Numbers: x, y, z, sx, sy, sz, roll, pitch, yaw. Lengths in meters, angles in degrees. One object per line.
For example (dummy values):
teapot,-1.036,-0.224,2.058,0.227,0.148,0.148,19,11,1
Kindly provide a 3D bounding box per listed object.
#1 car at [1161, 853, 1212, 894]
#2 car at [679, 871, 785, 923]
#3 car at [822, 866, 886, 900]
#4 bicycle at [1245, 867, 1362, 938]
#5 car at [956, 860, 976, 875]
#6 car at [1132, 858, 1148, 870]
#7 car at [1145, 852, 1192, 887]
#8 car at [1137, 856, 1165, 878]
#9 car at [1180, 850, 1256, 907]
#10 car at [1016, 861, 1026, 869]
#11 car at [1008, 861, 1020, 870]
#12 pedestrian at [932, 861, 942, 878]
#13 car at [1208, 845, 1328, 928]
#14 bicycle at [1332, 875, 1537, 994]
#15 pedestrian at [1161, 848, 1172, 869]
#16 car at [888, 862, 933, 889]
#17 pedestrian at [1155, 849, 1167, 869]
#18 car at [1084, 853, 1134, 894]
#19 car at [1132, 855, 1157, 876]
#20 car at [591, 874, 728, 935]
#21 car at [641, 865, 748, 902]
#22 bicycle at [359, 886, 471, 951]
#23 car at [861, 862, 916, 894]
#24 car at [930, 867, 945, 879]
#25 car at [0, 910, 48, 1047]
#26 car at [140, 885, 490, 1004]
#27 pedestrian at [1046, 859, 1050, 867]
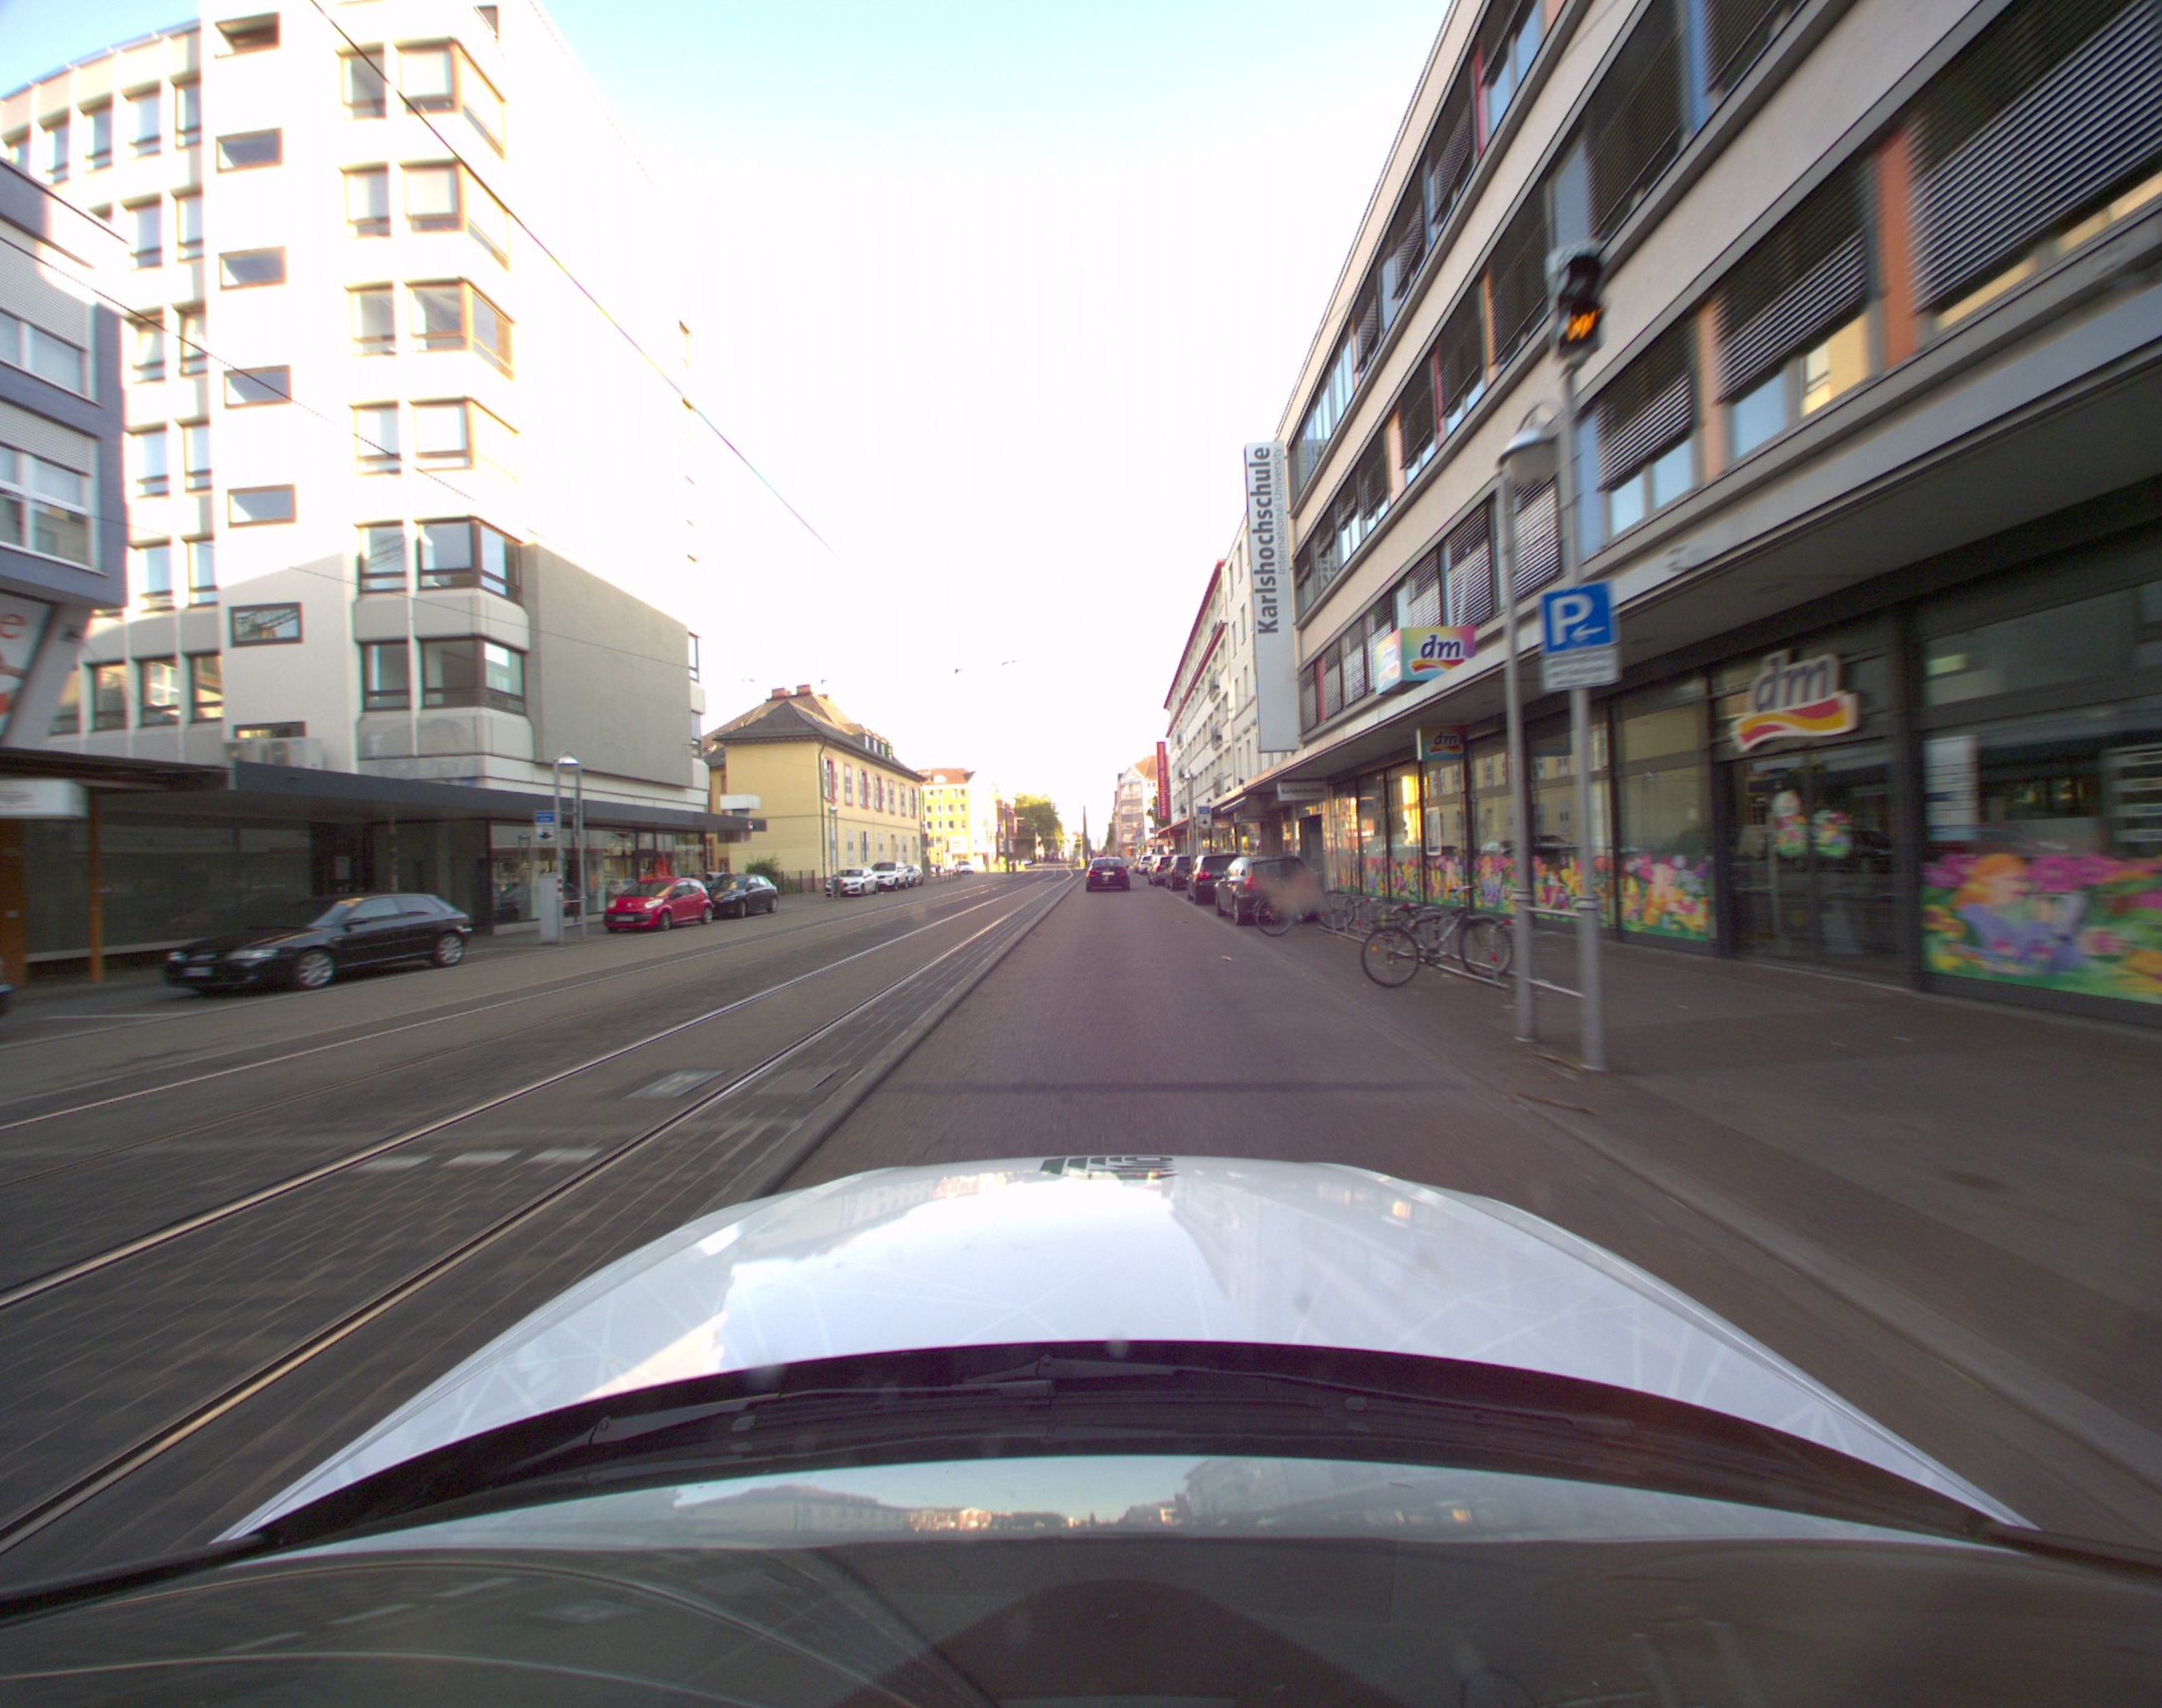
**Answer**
car,4.392,0.774,34.424,1.679,1.512,4.037,-4,0,2
car,-12.017,1.423,28.345,1.679,1.512,4.217,-3,0,2
car,-11.771,1.458,42.497,1.805,1.512,4.436,-3,0,3
bicycle,3.973,0.853,14.629,1.880,1.138,0.676,-3,0,-2
car,-12.507,1.488,88.528,1.808,1.512,4.017,-2,0,-13
car,8.189,1.325,112.753,1.986,1.552,4.002,-2,0,2
car,4.248,0.714,40.165,1.784,1.512,4.712,-4,0,0
car,5.171,0.935,60.830,1.778,1.512,4.053,-4,0,2
car,4.114,0.694,25.065,1.714,1.512,4.169,-4,0,2
car,-13.632,2.466,184.788,1.988,1.585,4.585,-2,0,-1
car,-14.298,2.420,174.061,1.988,1.901,4.809,-2,0,-1
pedestrian,-13.641,1.434,77.262,0.729,1.584,0.954,-2,-1,-3
car,3.998,0.649,18.113,1.737,1.512,4.260,-4,0,2
bicycle,3.815,0.852,8.880,1.880,1.077,0.676,-5,0,-2
pedestrian,7.501,0.384,71.449,0.726,1.741,0.863,-4,-1,2
car,-11.305,1.419,54.325,1.805,1.617,4.218,-3,0,3
pedestrian,7.130,0.417,72.627,0.824,1.718,0.843,-4,-1,2
car,1.218,0.817,35.737,1.986,1.585,4.001,-3,0,1
car,5.115,0.921,66.128,1.728,1.512,4.688,-4,0,2
car,-12.163,1.398,23.843,1.679,1.512,4.217,0,0,2
car,-17.866,1.352,37.748,3.970,1.467,1.848,-3,0,3
bicycle,-16.243,1.561,19.898,1.962,1.426,0.834,-3,-1,0
car,-11.328,1.370,48.238,1.804,1.786,4.503,0,-1,5
car,-18.824,2.496,106.707,1.734,1.512,4.024,-2,0,-8
car,-12.841,1.394,7.028,1.986,1.466,4.558,-1,0,1
car,-12.560,1.378,13.858,1.680,1.512,4.446,-1,0,1
pedestrian,-8.052,2.230,200.542,0.984,2.014,0.726,-1,-1,0
